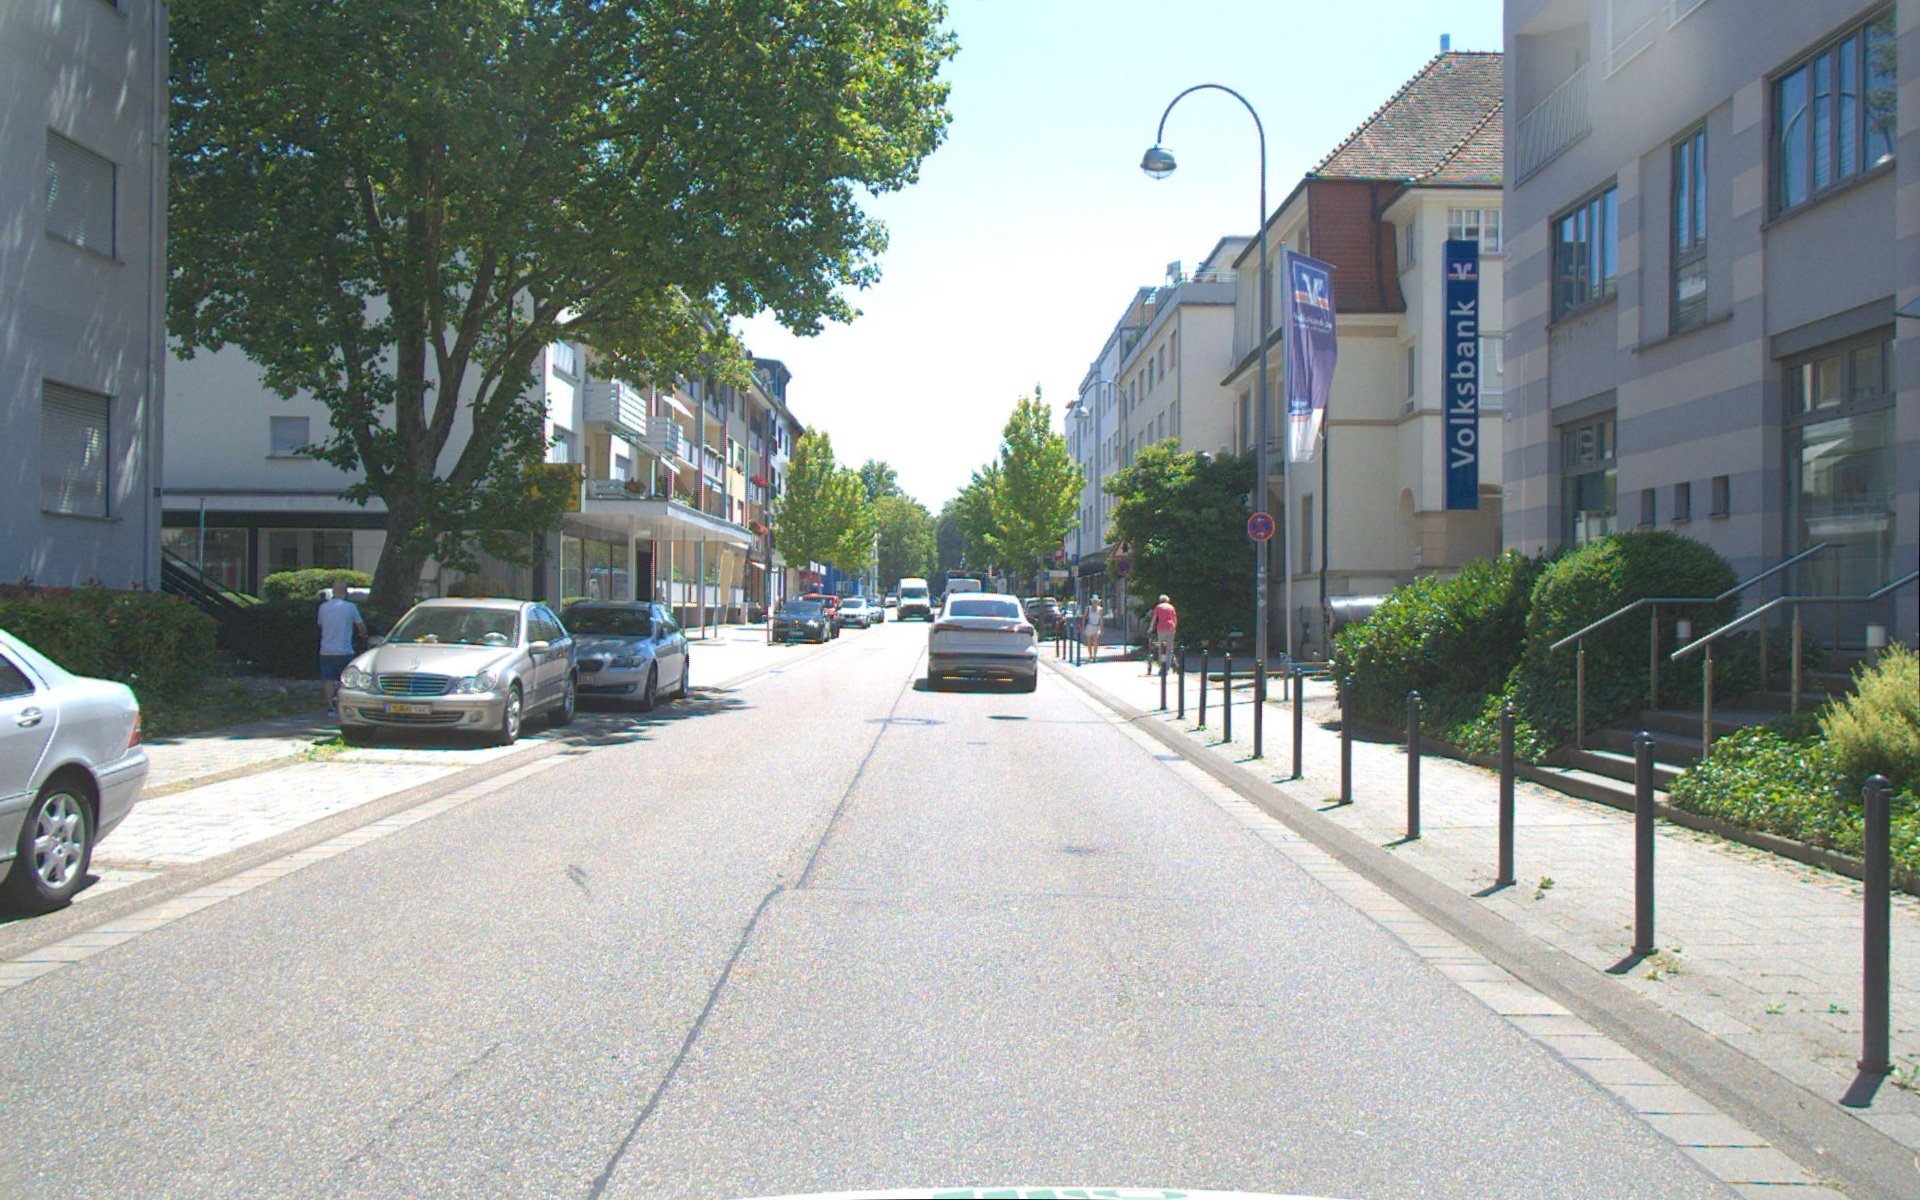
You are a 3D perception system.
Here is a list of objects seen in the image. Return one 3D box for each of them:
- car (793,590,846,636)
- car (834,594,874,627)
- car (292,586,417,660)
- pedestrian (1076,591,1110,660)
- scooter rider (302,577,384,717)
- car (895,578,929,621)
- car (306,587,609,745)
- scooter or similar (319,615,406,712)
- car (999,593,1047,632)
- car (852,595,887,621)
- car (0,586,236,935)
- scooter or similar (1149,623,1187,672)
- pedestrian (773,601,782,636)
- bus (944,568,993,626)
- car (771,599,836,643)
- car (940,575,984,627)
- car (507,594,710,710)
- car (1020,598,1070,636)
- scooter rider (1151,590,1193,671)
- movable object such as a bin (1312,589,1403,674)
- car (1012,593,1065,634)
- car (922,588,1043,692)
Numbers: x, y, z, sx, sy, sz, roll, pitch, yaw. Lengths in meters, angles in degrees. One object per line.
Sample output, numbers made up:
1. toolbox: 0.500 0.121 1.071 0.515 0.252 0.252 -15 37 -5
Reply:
1. car: -5.554 0.500 65.760 1.717 1.732 4.100 2 0 -1
2. car: -5.693 0.549 89.069 1.716 1.646 4.401 2 0 1
3. car: -13.151 0.470 35.788 1.871 1.512 3.954 0 0 -30
4. pedestrian: 3.304 0.629 41.098 0.686 1.655 0.783 -3 -1 -2
5. scooter rider: -7.359 0.548 19.766 0.576 1.602 0.877 2 0 1
6. car: -3.085 -0.039 106.663 1.995 2.676 7.106 -2 0 -1
7. car: -5.340 0.634 18.318 1.941 1.477 4.867 1 0 -1
8. scooter or similar: -7.353 0.769 20.388 0.649 1.117 1.028 2 0 1
9. car: 2.942 0.564 78.033 1.819 1.704 4.534 -1 0 -3
10. car: -5.448 0.494 99.938 1.716 1.478 4.401 2 0 1
11. car: -5.059 0.673 6.597 1.940 1.477 5.357 1 0 0
12. scooter or similar: 4.243 0.959 33.767 0.650 0.980 0.754 0 0 -1
13. pedestrian: -9.231 0.932 83.651 0.387 1.765 0.444 0 0 -11
14. bus: 0.582 -0.179 100.081 2.605 3.277 7.303 2 0 2
15. car: -5.559 0.726 59.284 1.858 1.442 5.046 2 0 -1
16. car: 0.107 0.078 84.780 2.112 2.484 5.283 2 0 0
17. car: -4.990 0.675 24.216 1.941 1.477 5.149 1 0 -1
18. car: 3.386 0.649 66.552 1.857 1.463 4.545 0 0 1
19. scooter rider: 4.238 0.603 33.082 0.701 1.576 0.770 -1 0 -2
20. movable object such as a bin: 7.399 0.578 30.873 1.339 1.484 1.381 -3 0 1
21. car: 3.395 0.554 72.693 1.858 1.704 4.688 -1 0 -3
22. car: 0.331 0.664 29.366 1.953 1.661 3.999 2 0 -2
